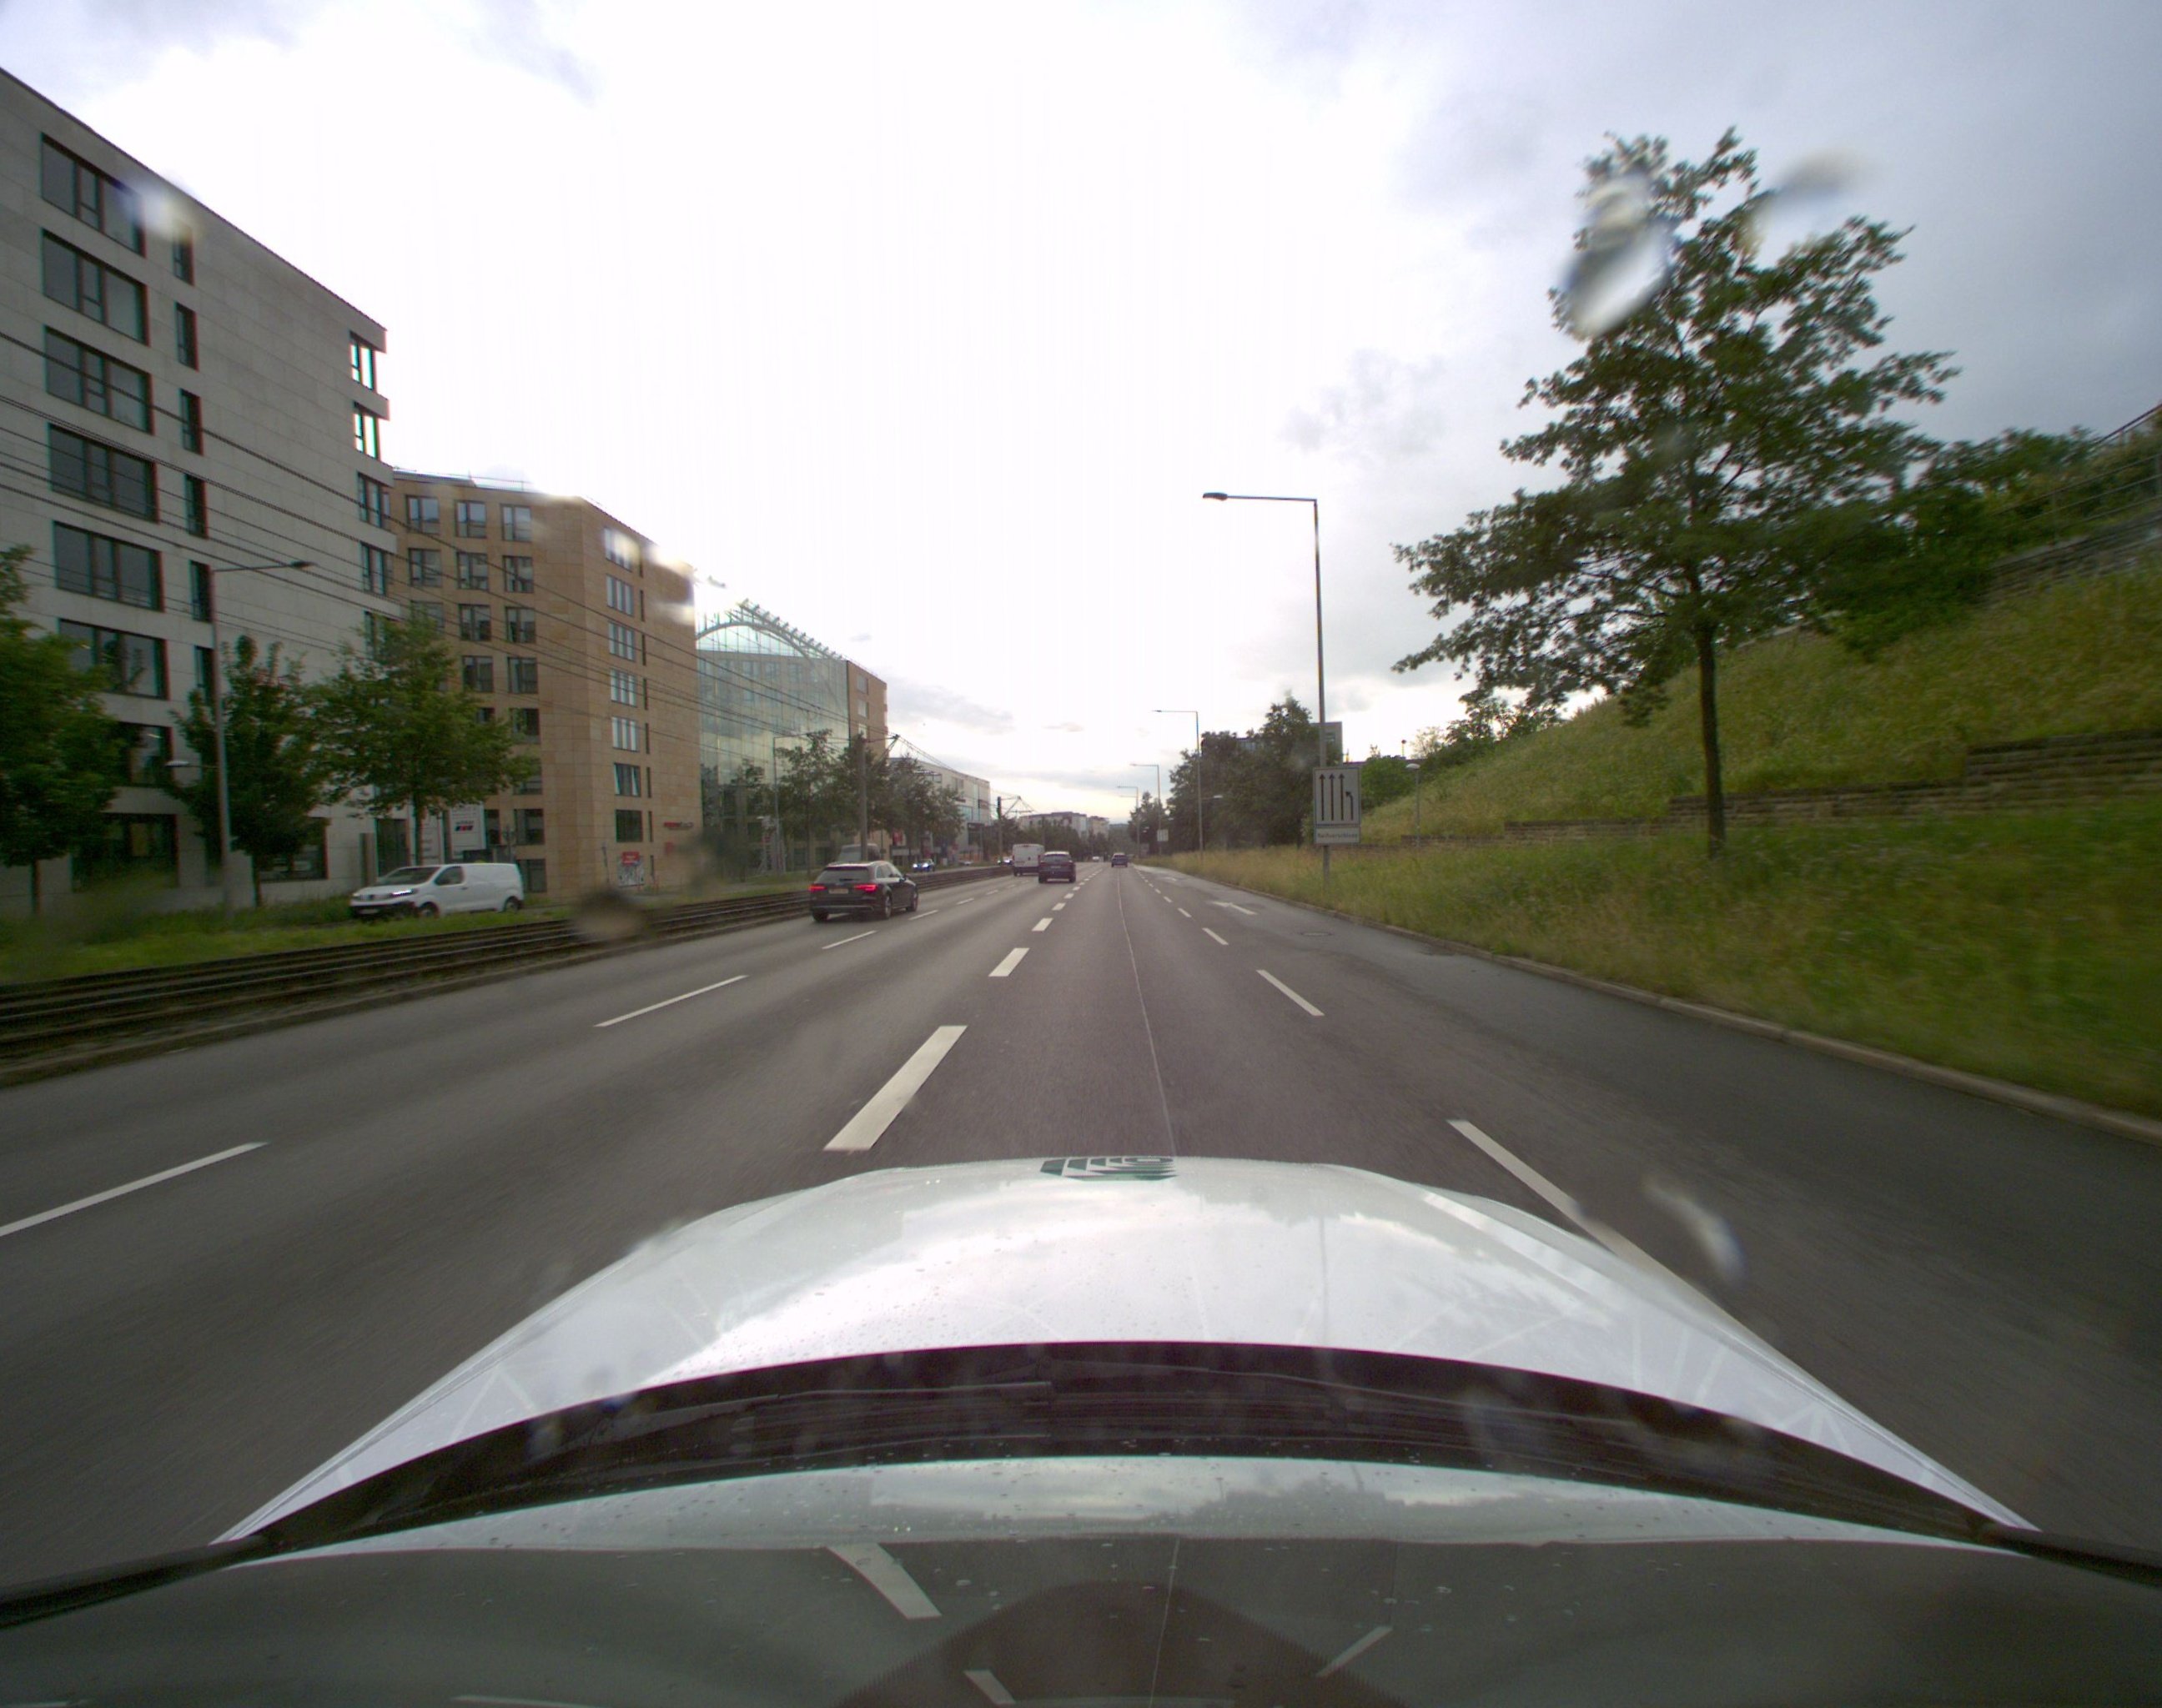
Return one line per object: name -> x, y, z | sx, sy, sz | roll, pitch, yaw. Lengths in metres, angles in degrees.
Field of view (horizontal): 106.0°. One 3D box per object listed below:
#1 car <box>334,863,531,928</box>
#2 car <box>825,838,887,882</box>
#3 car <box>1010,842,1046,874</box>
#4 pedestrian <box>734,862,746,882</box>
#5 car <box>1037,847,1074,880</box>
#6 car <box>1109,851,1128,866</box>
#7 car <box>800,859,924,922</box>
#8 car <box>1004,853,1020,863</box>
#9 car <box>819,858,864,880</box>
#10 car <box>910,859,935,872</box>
car -> -20.030, 1.206, 25.521 | 1.930, 1.761, 5.065 | 0, 0, 3
car -> -15.392, 0.407, 56.096 | 2.373, 2.817, 5.617 | 0, 0, 4
car -> -3.830, 0.283, 59.588 | 2.261, 2.285, 4.758 | 0, 0, 0
pedestrian -> -27.790, 1.499, 66.409 | 0.640, 1.632, 0.832 | 0, -2, 0
car -> -1.328, 0.559, 43.943 | 1.917, 1.711, 4.096 | 0, -2, -1
car -> 4.063, 0.524, 89.174 | 1.784, 1.591, 3.998 | -2, -1, -1
car -> -5.459, 0.846, 20.957 | 1.779, 1.414, 4.807 | 0, 0, 1
car -> -10.743, 0.601, 126.198 | 1.764, 1.502, 4.205 | 0, -2, 5
car -> -17.906, 1.081, 61.075 | 1.752, 1.533, 4.821 | 0, 0, 3
car -> -18.378, 1.350, 94.642 | 1.833, 1.454, 4.027 | 0, -2, 3
